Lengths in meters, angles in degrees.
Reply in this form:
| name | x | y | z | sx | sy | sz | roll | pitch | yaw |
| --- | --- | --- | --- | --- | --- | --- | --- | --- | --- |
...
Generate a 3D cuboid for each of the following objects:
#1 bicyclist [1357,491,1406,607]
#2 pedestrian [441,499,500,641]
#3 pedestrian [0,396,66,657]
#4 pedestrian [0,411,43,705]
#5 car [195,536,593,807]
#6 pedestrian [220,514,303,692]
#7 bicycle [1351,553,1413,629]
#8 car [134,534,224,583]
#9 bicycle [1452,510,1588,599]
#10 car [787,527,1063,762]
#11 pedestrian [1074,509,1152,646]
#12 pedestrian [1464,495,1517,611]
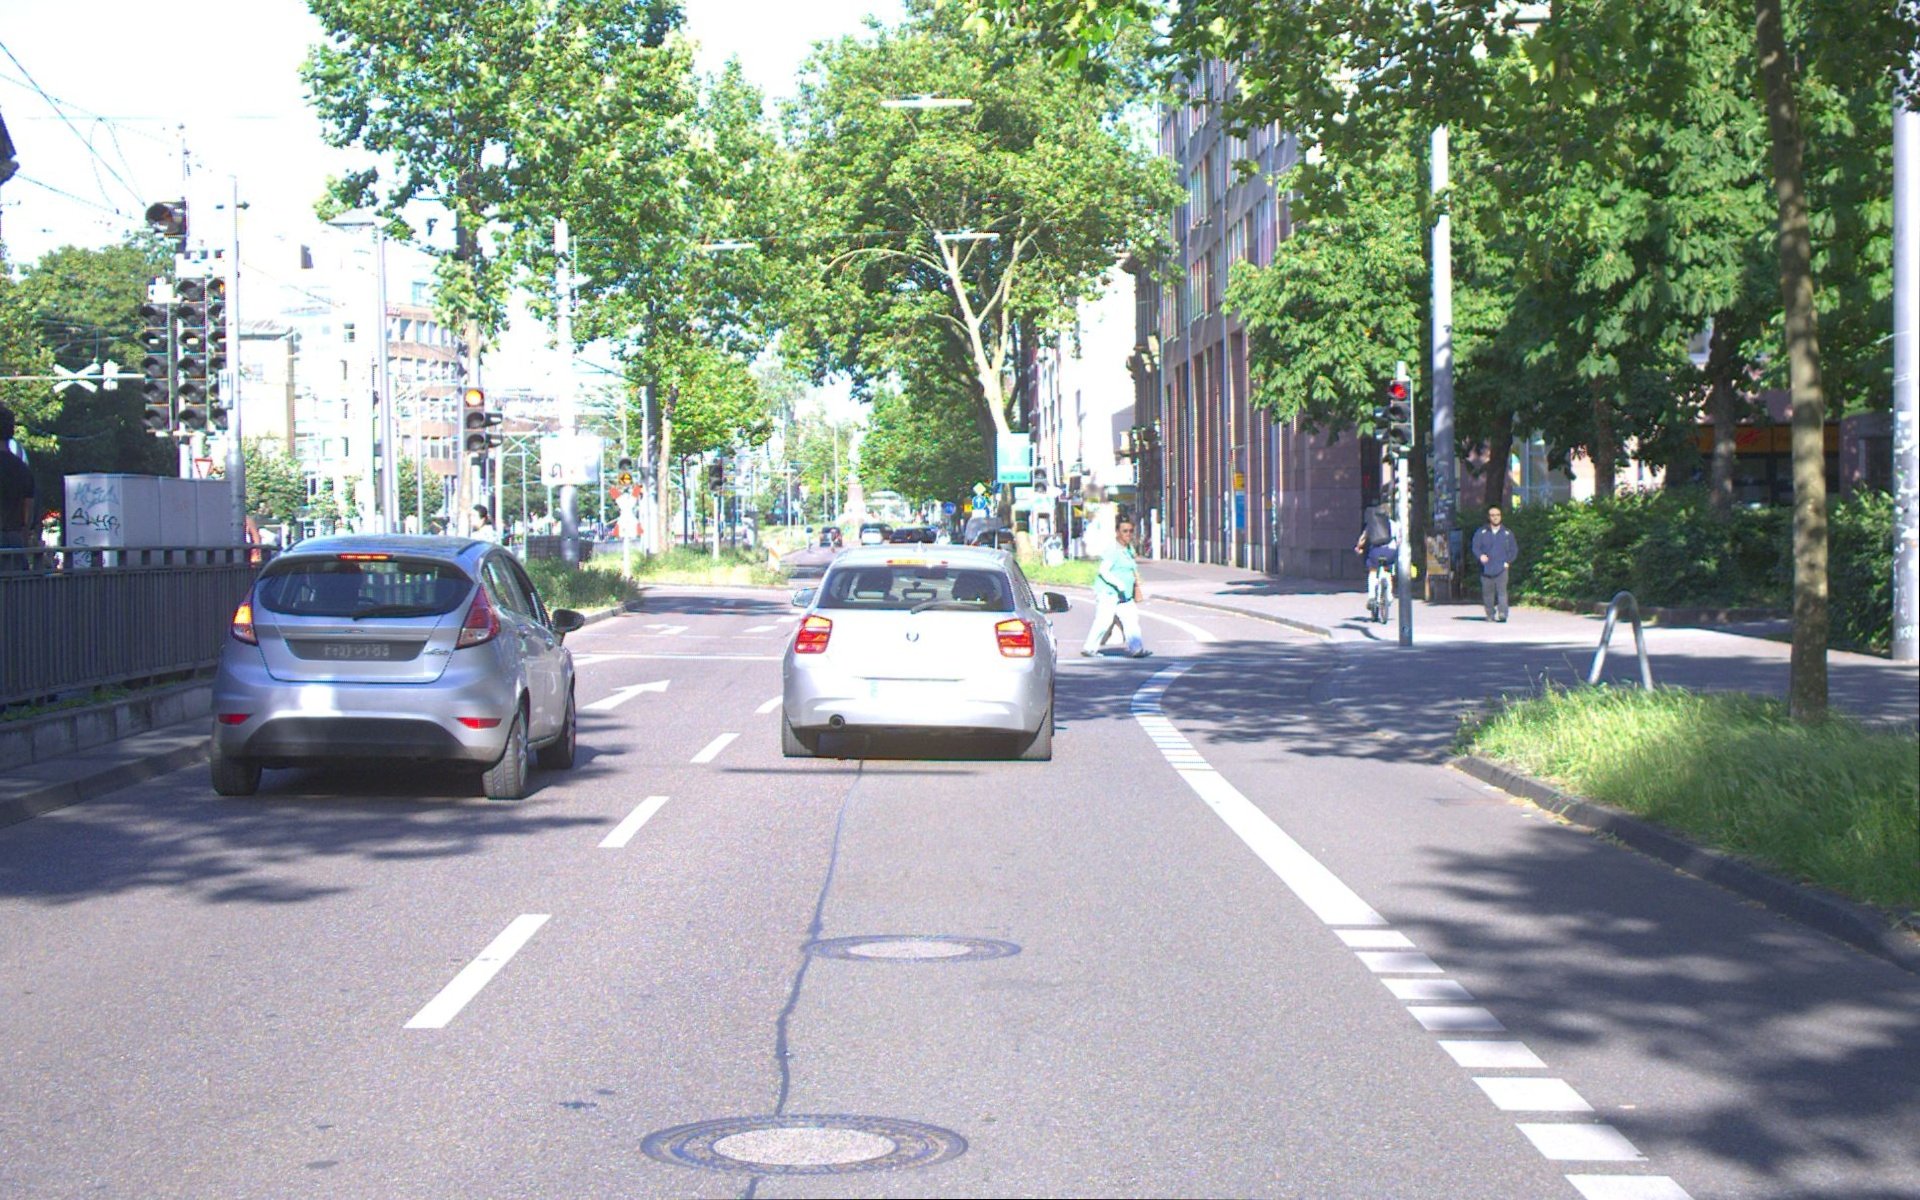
| name | x | y | z | sx | sy | sz | roll | pitch | yaw |
| --- | --- | --- | --- | --- | --- | --- | --- | --- | --- |
| bicyclist | 6.092 | -0.740 | 49.677 | 0.658 | 1.651 | 0.764 | -1 | 1 | 8 |
| pedestrian | -5.632 | -0.343 | 39.544 | 0.639 | 1.614 | 0.642 | -1 | -1 | -9 |
| pedestrian | -6.370 | -0.494 | 23.167 | 0.547 | 1.728 | 0.540 | -1 | 1 | -4 |
| pedestrian | -5.815 | -0.248 | 20.493 | 0.547 | 1.728 | 0.540 | -1 | 1 | -4 |
| car | -3.171 | 0.345 | 19.903 | 1.660 | 1.404 | 3.632 | 1 | 1 | 1 |
| pedestrian | -6.176 | 0.016 | 30.414 | 0.630 | 1.551 | 0.647 | -1 | 1 | -5 |
| bicycle | 6.110 | -0.139 | 49.712 | 0.832 | 1.038 | 1.874 | -1 | 1 | 8 |
| car | -26.776 | -1.429 | 117.984 | 1.994 | 1.619 | 4.000 | 0 | 1 | 3 |
| bicycle | 8.675 | -0.704 | 53.294 | 1.996 | 1.310 | 0.574 | -2 | 1 | 3 |
| car | -0.166 | 0.242 | 23.670 | 1.730 | 1.385 | 3.840 | 1 | 2 | 2 |
| pedestrian | 1.775 | -0.264 | 39.789 | 0.830 | 1.570 | 0.739 | 0 | 1 | 7 |
| pedestrian | 7.471 | -0.666 | 48.397 | 0.627 | 1.623 | 0.943 | 1 | 1 | 15 |
